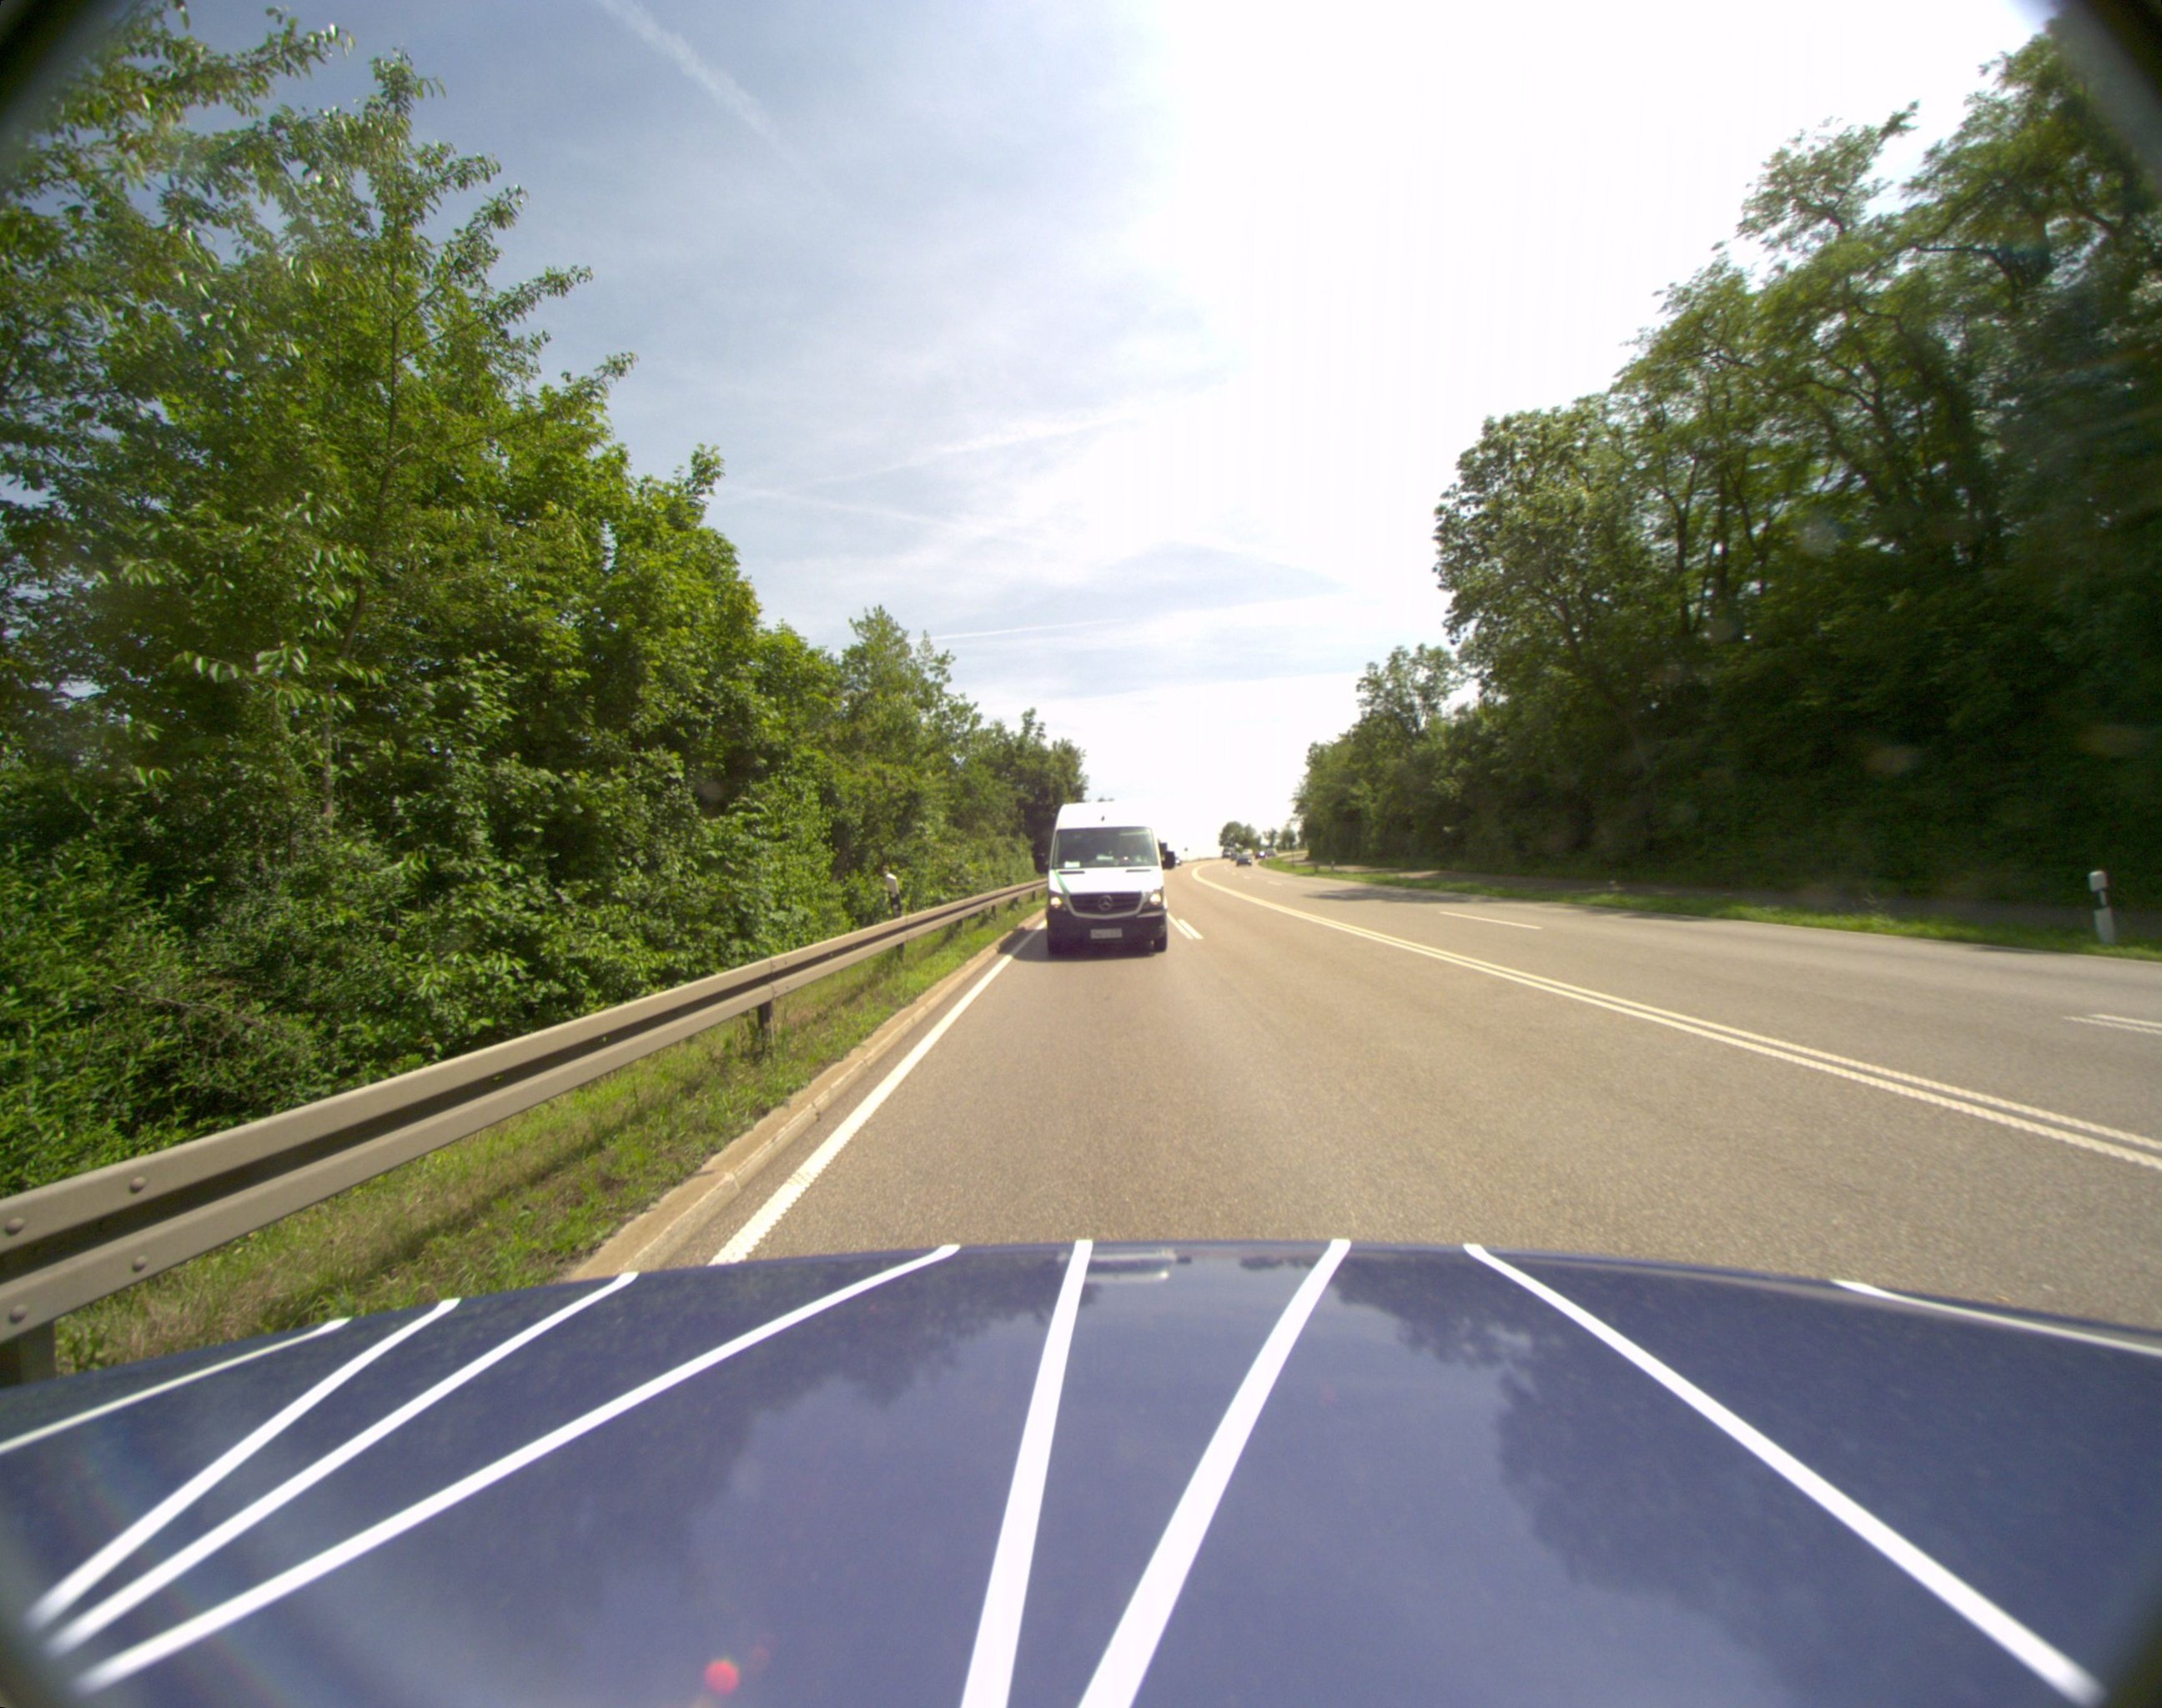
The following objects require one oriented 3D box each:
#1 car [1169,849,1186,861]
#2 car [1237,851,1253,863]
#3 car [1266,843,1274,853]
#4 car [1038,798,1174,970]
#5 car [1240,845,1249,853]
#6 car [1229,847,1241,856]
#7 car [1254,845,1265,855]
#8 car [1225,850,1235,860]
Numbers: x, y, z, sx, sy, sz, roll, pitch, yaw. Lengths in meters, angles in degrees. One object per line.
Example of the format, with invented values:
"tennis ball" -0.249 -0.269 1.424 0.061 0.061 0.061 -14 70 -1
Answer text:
"car" 14.153 0.112 111.763 1.996 1.718 4.003 -2 1 14
"car" 19.719 0.355 91.454 1.806 1.379 3.873 -2 0 12
"car" 43.487 -1.367 174.587 1.815 2.002 3.874 -2 1 14
"car" 0.436 0.441 13.770 1.958 2.502 5.267 -1 0 2
"car" 42.343 -1.292 196.293 1.849 2.002 3.876 -2 1 17
"car" 28.697 -0.448 141.583 1.958 1.717 3.915 -2 0 14
"car" 34.932 -0.778 148.524 1.996 1.665 4.003 -2 1 14
"car" 33.928 0.210 172.835 1.996 2.002 4.005 -2 0 16
